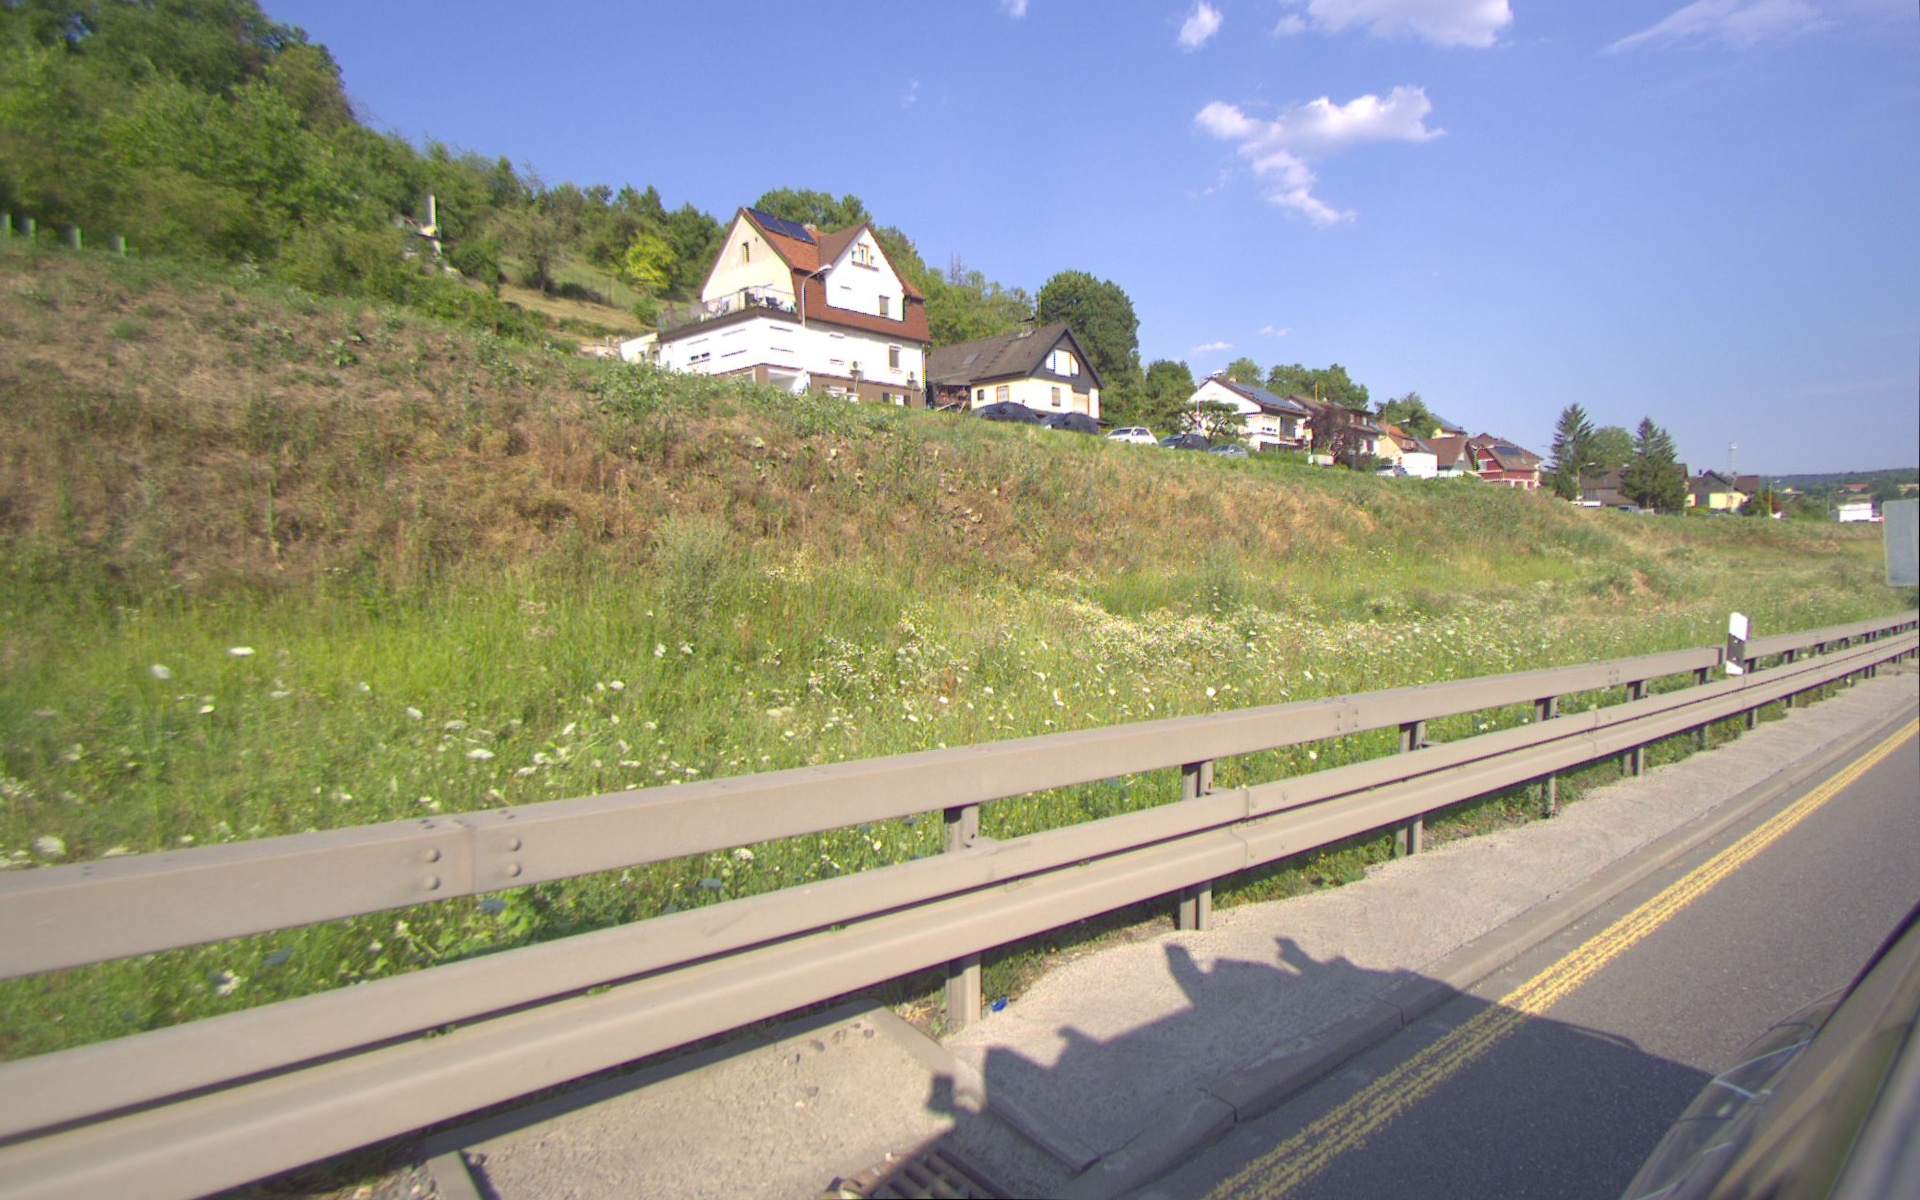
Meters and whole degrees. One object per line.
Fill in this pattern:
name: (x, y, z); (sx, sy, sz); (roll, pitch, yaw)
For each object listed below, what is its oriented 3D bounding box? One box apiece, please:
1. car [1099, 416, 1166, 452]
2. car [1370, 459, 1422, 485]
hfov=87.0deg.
car: (8.495, -8.138, 49.726); (1.343, 1.248, 3.840); (0, 1, 44)
car: (31.671, -9.294, 73.436); (3.931, 1.460, 1.997); (-1, 1, -41)
